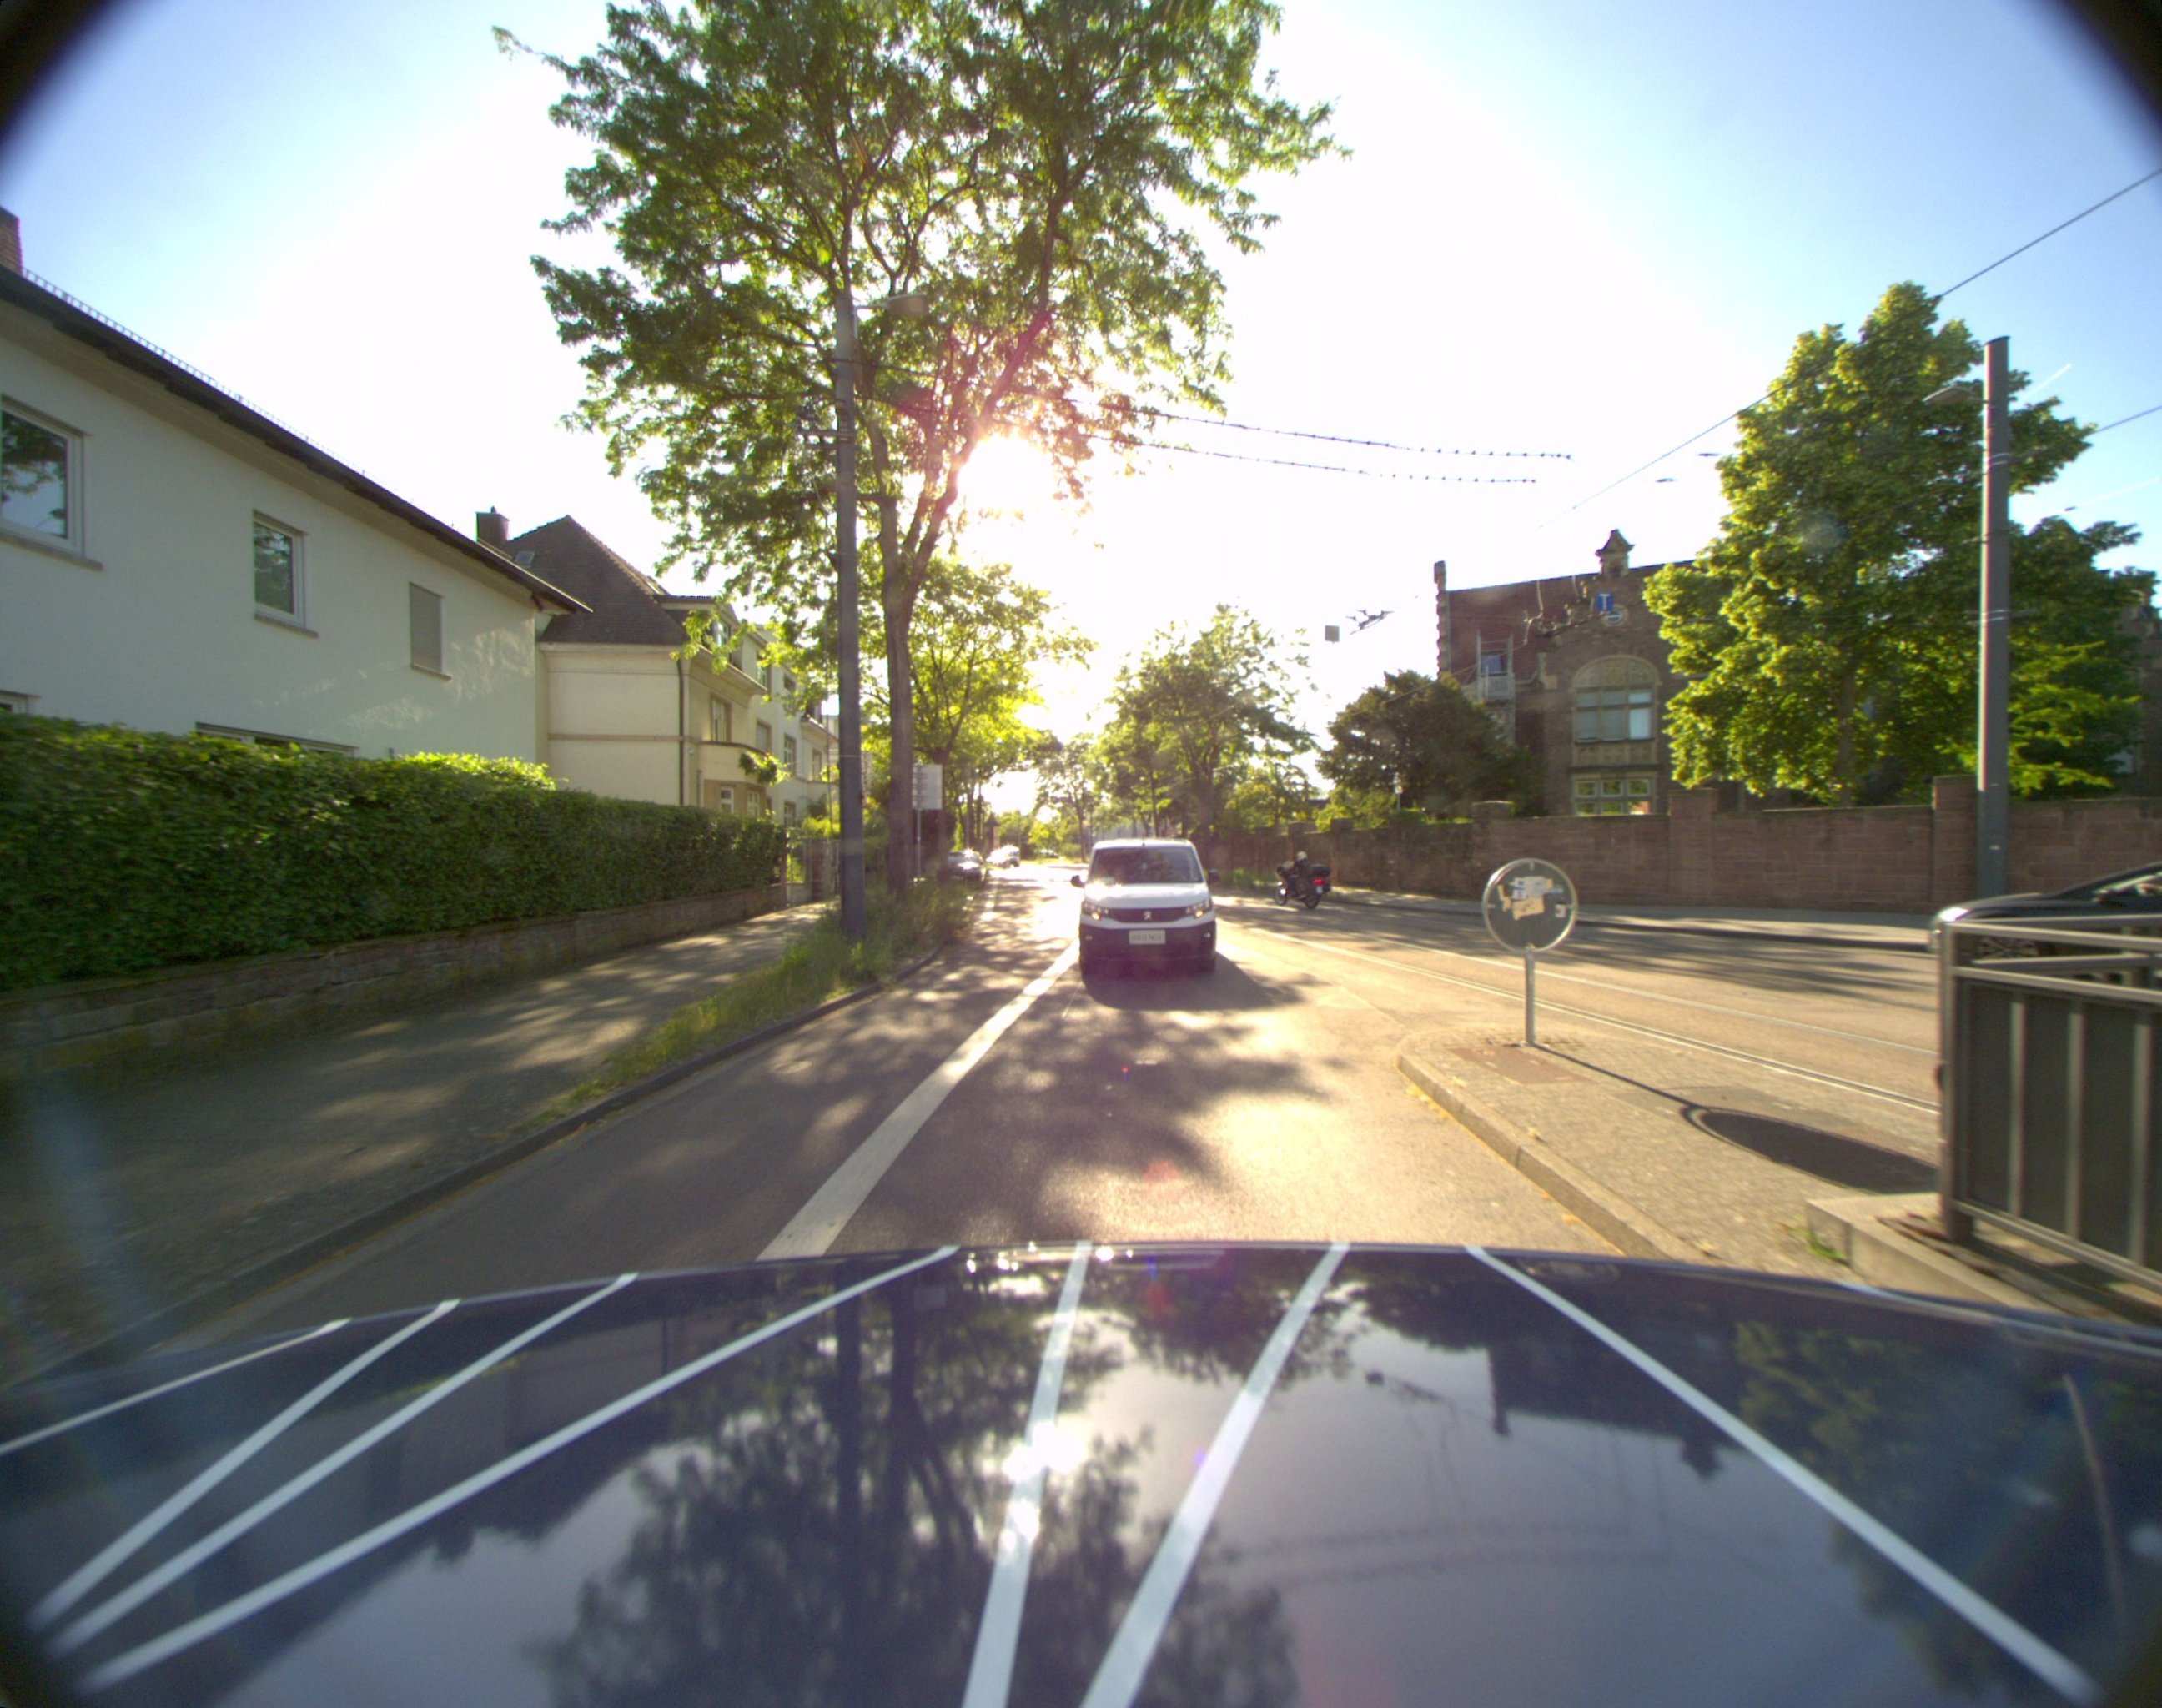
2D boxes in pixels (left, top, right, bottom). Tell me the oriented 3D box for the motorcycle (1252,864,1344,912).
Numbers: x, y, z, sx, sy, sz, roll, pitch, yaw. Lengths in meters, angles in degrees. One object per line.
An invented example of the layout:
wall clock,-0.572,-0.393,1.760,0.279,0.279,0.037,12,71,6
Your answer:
motorcycle,6.205,0.938,21.948,1.135,1.236,2.567,-1,1,-26

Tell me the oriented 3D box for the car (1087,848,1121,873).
car,1.518,0.439,51.969,1.801,1.628,4.116,1,0,-5

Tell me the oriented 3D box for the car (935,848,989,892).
car,-5.125,0.650,33.133,1.999,1.733,4.168,-1,1,-5

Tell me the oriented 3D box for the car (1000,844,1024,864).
car,-6.655,-0.008,73.478,1.904,1.819,4.247,-1,1,0

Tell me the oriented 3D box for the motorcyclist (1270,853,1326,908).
motorcyclist,6.244,0.738,21.867,1.130,1.516,1.053,-1,2,-26

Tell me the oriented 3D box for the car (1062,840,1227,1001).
car,0.807,0.727,10.905,1.832,1.788,4.334,-2,1,2

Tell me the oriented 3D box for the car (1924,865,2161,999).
car,12.375,0.836,8.229,1.863,1.395,3.975,0,0,-25

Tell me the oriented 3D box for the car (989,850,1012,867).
car,-7.066,0.362,67.079,1.720,1.332,3.916,-1,1,-1
